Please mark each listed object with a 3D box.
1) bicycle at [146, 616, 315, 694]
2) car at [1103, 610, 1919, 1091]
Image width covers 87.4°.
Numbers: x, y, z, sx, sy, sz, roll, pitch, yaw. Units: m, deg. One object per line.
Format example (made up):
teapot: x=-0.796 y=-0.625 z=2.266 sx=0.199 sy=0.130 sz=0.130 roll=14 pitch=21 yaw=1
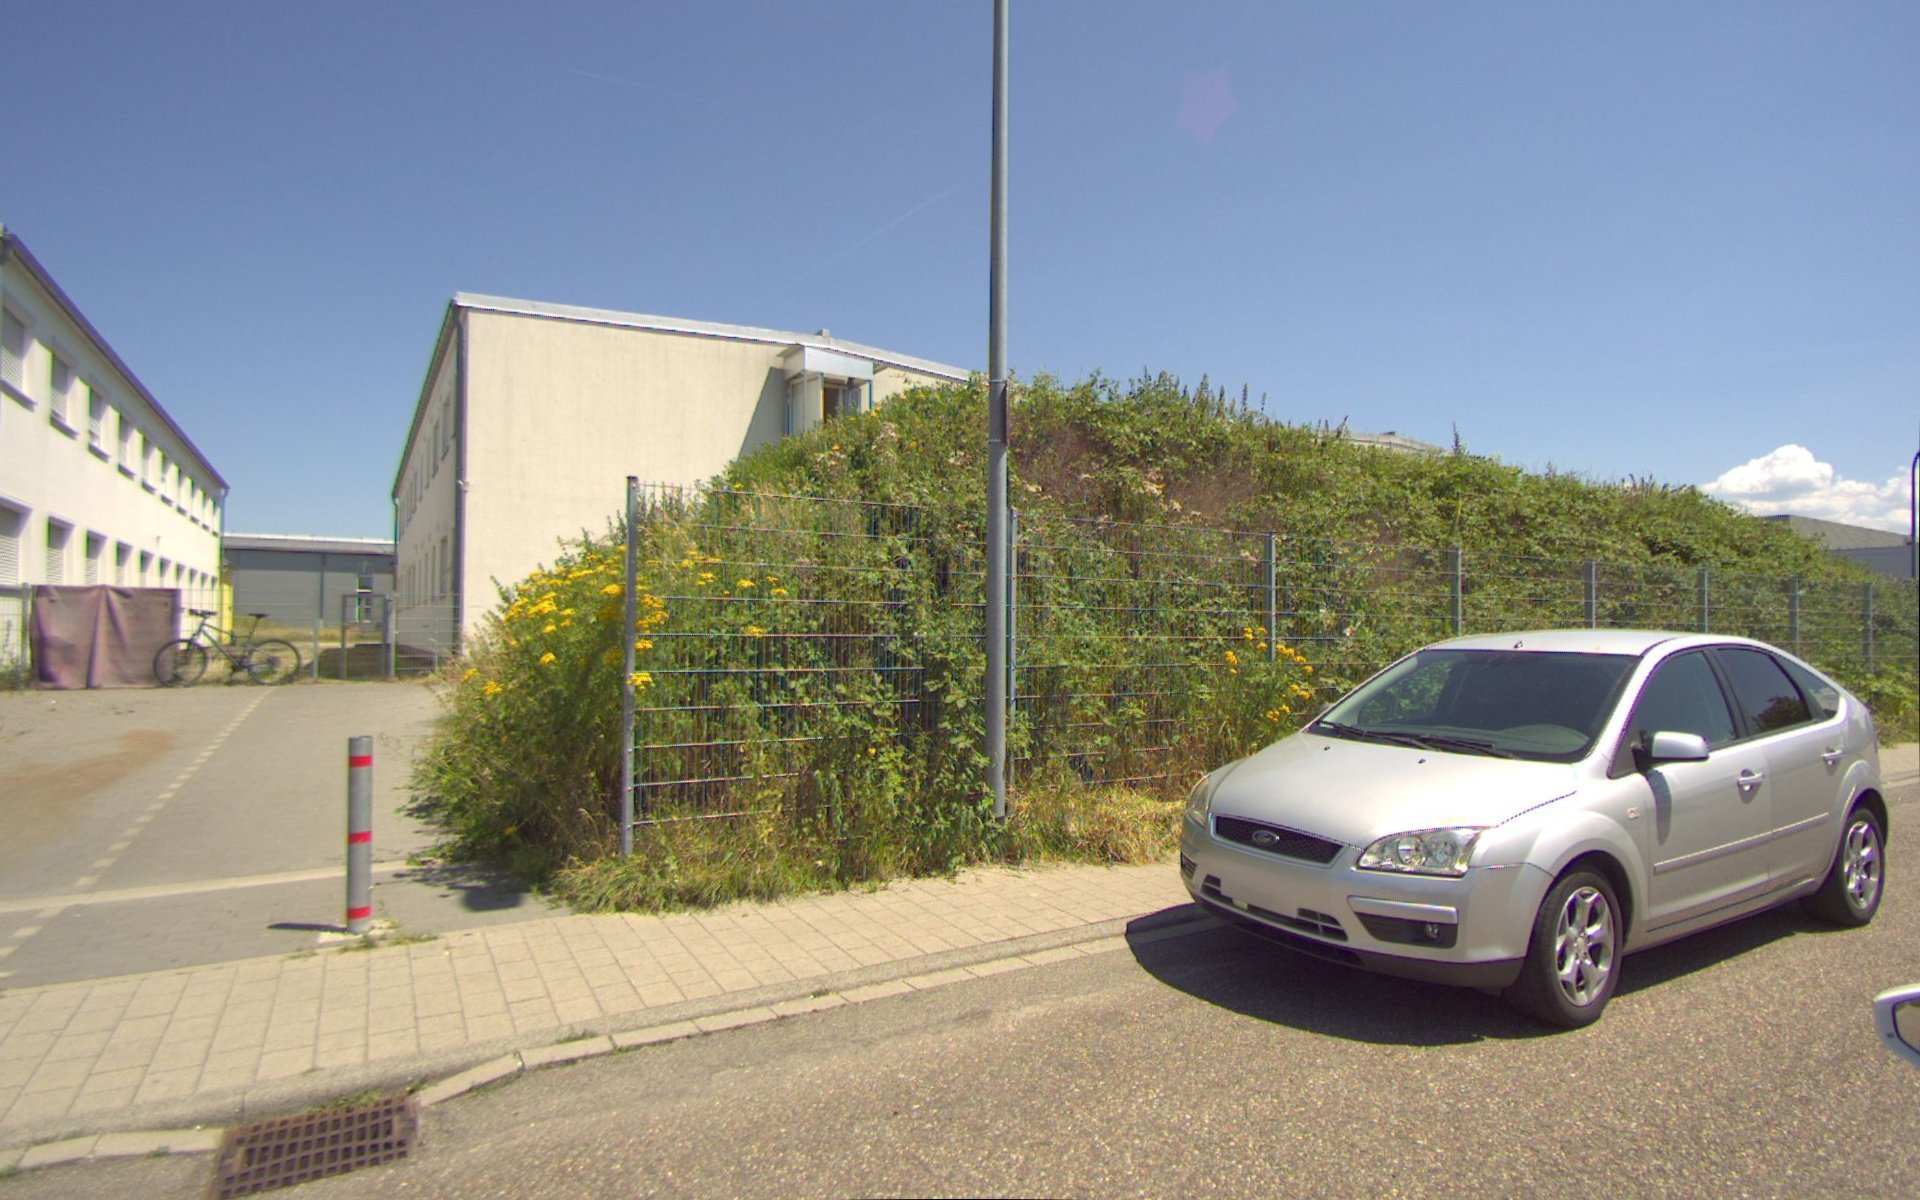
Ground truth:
bicycle: x=-10.743 y=0.796 z=14.886 sx=1.976 sy=1.087 sz=0.549 roll=1 pitch=0 yaw=-33
car: x=3.003 y=0.882 z=5.188 sx=4.316 sy=1.567 sz=1.825 roll=1 pitch=-2 yaw=-31
